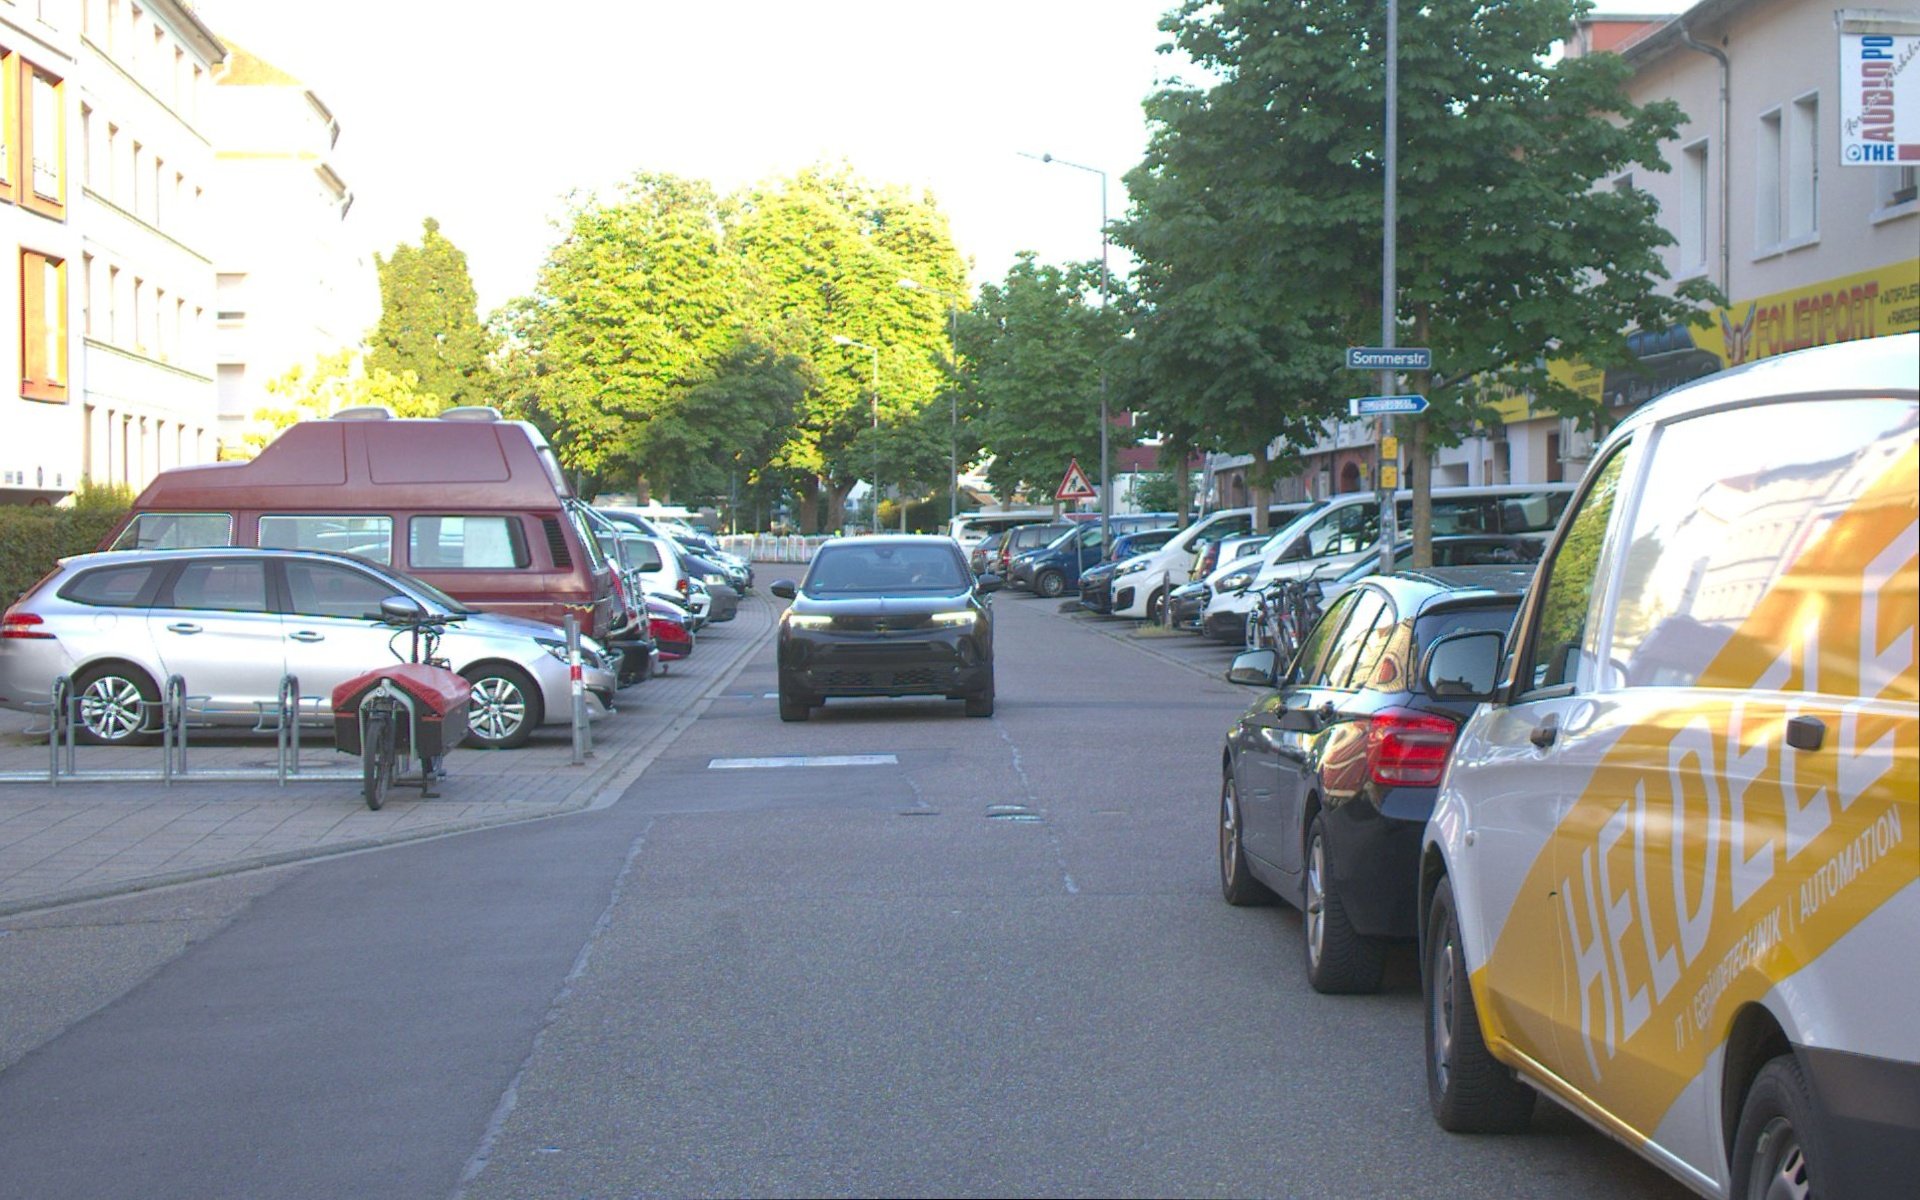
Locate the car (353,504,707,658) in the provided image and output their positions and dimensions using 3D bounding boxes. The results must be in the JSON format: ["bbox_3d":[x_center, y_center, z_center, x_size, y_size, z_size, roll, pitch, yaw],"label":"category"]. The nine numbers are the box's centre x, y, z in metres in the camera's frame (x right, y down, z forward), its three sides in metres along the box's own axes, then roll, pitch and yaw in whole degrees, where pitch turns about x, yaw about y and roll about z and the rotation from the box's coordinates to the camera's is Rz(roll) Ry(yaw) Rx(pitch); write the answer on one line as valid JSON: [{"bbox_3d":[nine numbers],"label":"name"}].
[{"bbox_3d":[-5.431,-0.260,43.816,4.256,1.830,2.000,1,1,-1],"label":"car"}]

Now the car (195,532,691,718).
[{"bbox_3d":[-4.561,0.201,30.800,4.208,1.532,1.791,1,1,-3],"label":"car"}]

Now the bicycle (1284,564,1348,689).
[{"bbox_3d":[3.603,0.254,34.912,0.386,1.196,2.017,-1,1,-1],"label":"bicycle"}]

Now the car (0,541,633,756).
[{"bbox_3d":[-4.786,0.338,25.653,4.615,1.455,1.881,1,1,-4],"label":"car"}]

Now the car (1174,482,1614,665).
[{"bbox_3d":[5.217,-0.339,41.862,4.989,1.976,2.220,-2,1,0],"label":"car"}]

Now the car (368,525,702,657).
[{"bbox_3d":[-5.672,-0.133,46.289,4.256,1.654,2.000,1,1,-1],"label":"car"}]

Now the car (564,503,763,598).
[{"bbox_3d":[-7.011,-1.186,81.682,4.533,2.127,2.000,1,1,-1],"label":"car"}]

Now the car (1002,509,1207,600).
[{"bbox_3d":[3.310,-1.065,79.287,4.478,1.905,1.688,-2,1,-5],"label":"car"}]

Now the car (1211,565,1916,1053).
[{"bbox_3d":[1.999,0.619,12.635,1.721,1.419,4.254,1,1,-1],"label":"car"}]

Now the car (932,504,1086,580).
[{"bbox_3d":[1.333,-1.603,95.000,3.967,1.905,2.050,-2,1,-6],"label":"car"}]

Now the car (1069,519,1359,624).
[{"bbox_3d":[4.538,-0.527,61.965,4.943,1.683,2.077,-2,1,-2],"label":"car"}]

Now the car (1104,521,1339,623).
[{"bbox_3d":[5.058,-0.552,66.877,4.316,1.798,1.811,-2,1,-2],"label":"car"}]

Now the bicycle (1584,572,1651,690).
[{"bbox_3d":[6.655,0.303,34.851,0.353,1.139,1.481,-1,1,-1],"label":"bicycle"}]

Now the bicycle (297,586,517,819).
[{"bbox_3d":[-3.225,0.556,20.328,0.808,1.217,2.865,1,1,0],"label":"bicycle"}]

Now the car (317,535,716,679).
[{"bbox_3d":[-4.902,0.057,38.405,4.209,1.484,1.850,1,1,0],"label":"car"}]

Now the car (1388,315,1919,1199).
[{"bbox_3d":[2.206,0.505,6.950,1.893,1.877,5.083,0,1,-2],"label":"car"}]

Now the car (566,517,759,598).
[{"bbox_3d":[-6.804,-0.980,79.050,4.256,1.743,2.000,1,1,-1],"label":"car"}]

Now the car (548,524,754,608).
[{"bbox_3d":[-6.646,-0.751,74.283,4.256,1.709,2.000,1,1,-1],"label":"car"}]

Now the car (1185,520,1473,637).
[{"bbox_3d":[5.304,-0.325,49.842,3.911,1.521,1.939,-2,1,0],"label":"car"}]

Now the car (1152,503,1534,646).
[{"bbox_3d":[5.205,-0.363,47.207,4.944,1.736,2.049,-2,1,0],"label":"car"}]

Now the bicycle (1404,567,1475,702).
[{"bbox_3d":[4.864,0.333,34.953,0.386,1.300,2.017,-1,1,-1],"label":"bicycle"}]

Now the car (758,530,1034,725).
[{"bbox_3d":[-0.473,0.181,29.428,1.780,1.512,3.999,-1,1,7],"label":"car"}]

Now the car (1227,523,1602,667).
[{"bbox_3d":[5.123,-0.076,39.078,3.918,1.446,1.768,-2,1,-3],"label":"car"}]

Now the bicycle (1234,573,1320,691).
[{"bbox_3d":[3.190,0.307,34.722,0.438,1.126,2.018,-2,1,-7],"label":"bicycle"}]

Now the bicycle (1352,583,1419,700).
[{"bbox_3d":[4.317,0.406,34.954,0.386,1.110,2.017,-1,1,-1],"label":"bicycle"}]

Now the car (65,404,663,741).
[{"bbox_3d":[-4.808,-0.240,28.220,4.511,2.575,2.000,1,1,1],"label":"car"}]

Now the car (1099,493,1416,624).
[{"bbox_3d":[4.901,-0.693,57.105,4.943,1.951,2.049,-2,1,-2],"label":"car"}]

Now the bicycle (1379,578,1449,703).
[{"bbox_3d":[4.603,0.391,34.942,0.386,1.196,2.017,-1,1,-1],"label":"bicycle"}]

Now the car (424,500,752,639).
[{"bbox_3d":[-5.714,-0.487,53.195,4.850,2.014,1.907,1,1,-1],"label":"car"}]

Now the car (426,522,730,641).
[{"bbox_3d":[-5.584,-0.285,50.644,4.256,1.646,1.888,1,1,-1],"label":"car"}]

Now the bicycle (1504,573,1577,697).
[{"bbox_3d":[5.866,0.337,34.773,0.445,1.196,1.481,-1,1,-1],"label":"bicycle"}]
